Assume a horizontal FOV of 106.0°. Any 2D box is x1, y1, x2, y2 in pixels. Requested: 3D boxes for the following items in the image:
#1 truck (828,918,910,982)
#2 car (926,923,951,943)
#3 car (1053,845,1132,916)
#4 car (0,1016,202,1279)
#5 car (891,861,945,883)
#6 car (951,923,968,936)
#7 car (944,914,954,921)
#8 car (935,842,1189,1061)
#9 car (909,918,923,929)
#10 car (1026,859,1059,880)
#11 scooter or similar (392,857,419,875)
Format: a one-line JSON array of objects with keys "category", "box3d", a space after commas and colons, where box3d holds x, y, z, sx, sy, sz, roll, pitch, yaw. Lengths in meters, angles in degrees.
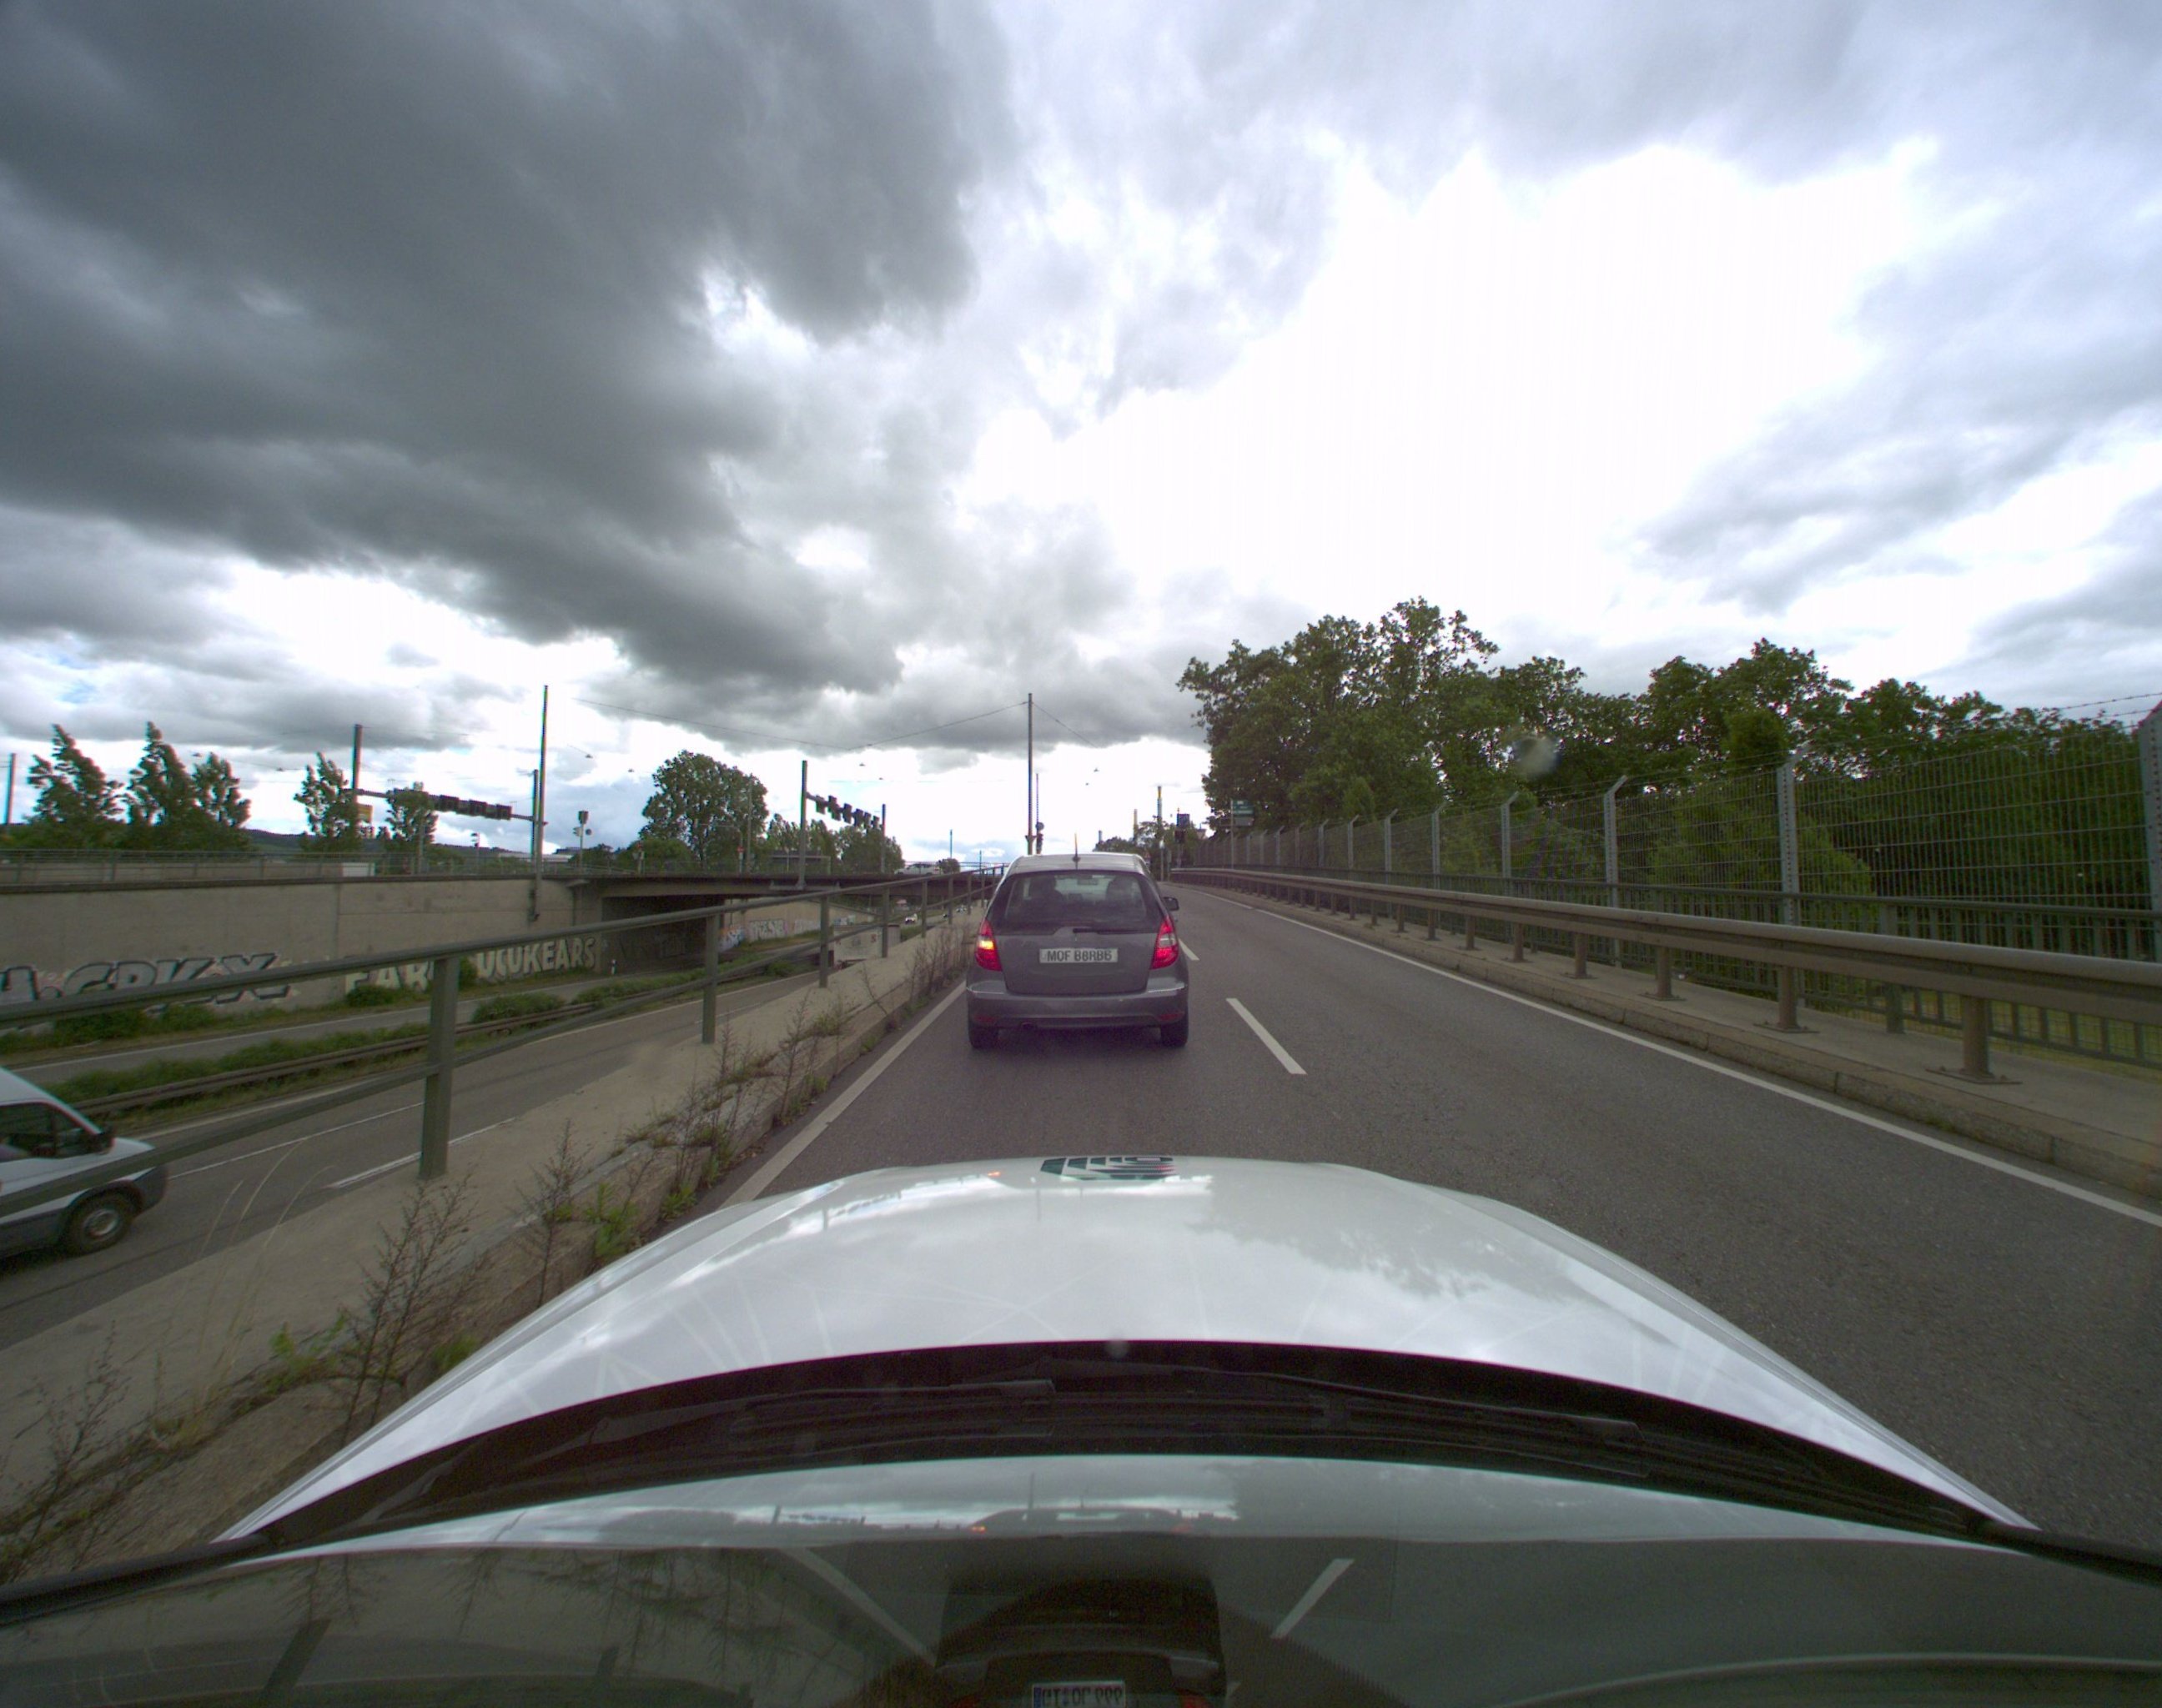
[{"category": "truck", "box3d": [-12.484, 5.598, 48.750, 2.736, 3.293, 7.442, -1, -3, 2]}, {"category": "car", "box3d": [-16.207, 8.989, 92.749, 1.891, 2.003, 4.959, -1, -3, 2]}, {"category": "car", "box3d": [0.287, 0.665, 22.217, 1.925, 1.717, 4.405, 0, -1, 0]}, {"category": "car", "box3d": [-13.259, 3.402, 8.238, 1.986, 2.685, 5.933, 0, -4, 2]}, {"category": "car", "box3d": [-14.268, 1.591, 71.541, 4.175, 1.870, 2.005, 0, -1, 9]}, {"category": "car", "box3d": [-17.387, 10.769, 116.433, 1.893, 1.622, 4.174, 0, -3, -2]}, {"category": "car", "box3d": [-34.174, 16.555, 211.426, 1.910, 1.739, 4.549, -1, -3, -1]}, {"category": "car", "box3d": [-0.077, 0.719, 7.952, 1.851, 1.588, 4.002, 0, 0, 2]}, {"category": "car", "box3d": [-33.393, 13.981, 164.908, 1.988, 2.067, 5.172, 0, -3, -2]}, {"category": "car", "box3d": [-3.152, 1.220, 65.574, 1.836, 1.576, 4.325, 0, -1, -14]}, {"category": "scooter or similar", "box3d": [-42.080, 0.738, 50.755, 0.542, 1.094, 1.414, -1, -2, -4]}]
